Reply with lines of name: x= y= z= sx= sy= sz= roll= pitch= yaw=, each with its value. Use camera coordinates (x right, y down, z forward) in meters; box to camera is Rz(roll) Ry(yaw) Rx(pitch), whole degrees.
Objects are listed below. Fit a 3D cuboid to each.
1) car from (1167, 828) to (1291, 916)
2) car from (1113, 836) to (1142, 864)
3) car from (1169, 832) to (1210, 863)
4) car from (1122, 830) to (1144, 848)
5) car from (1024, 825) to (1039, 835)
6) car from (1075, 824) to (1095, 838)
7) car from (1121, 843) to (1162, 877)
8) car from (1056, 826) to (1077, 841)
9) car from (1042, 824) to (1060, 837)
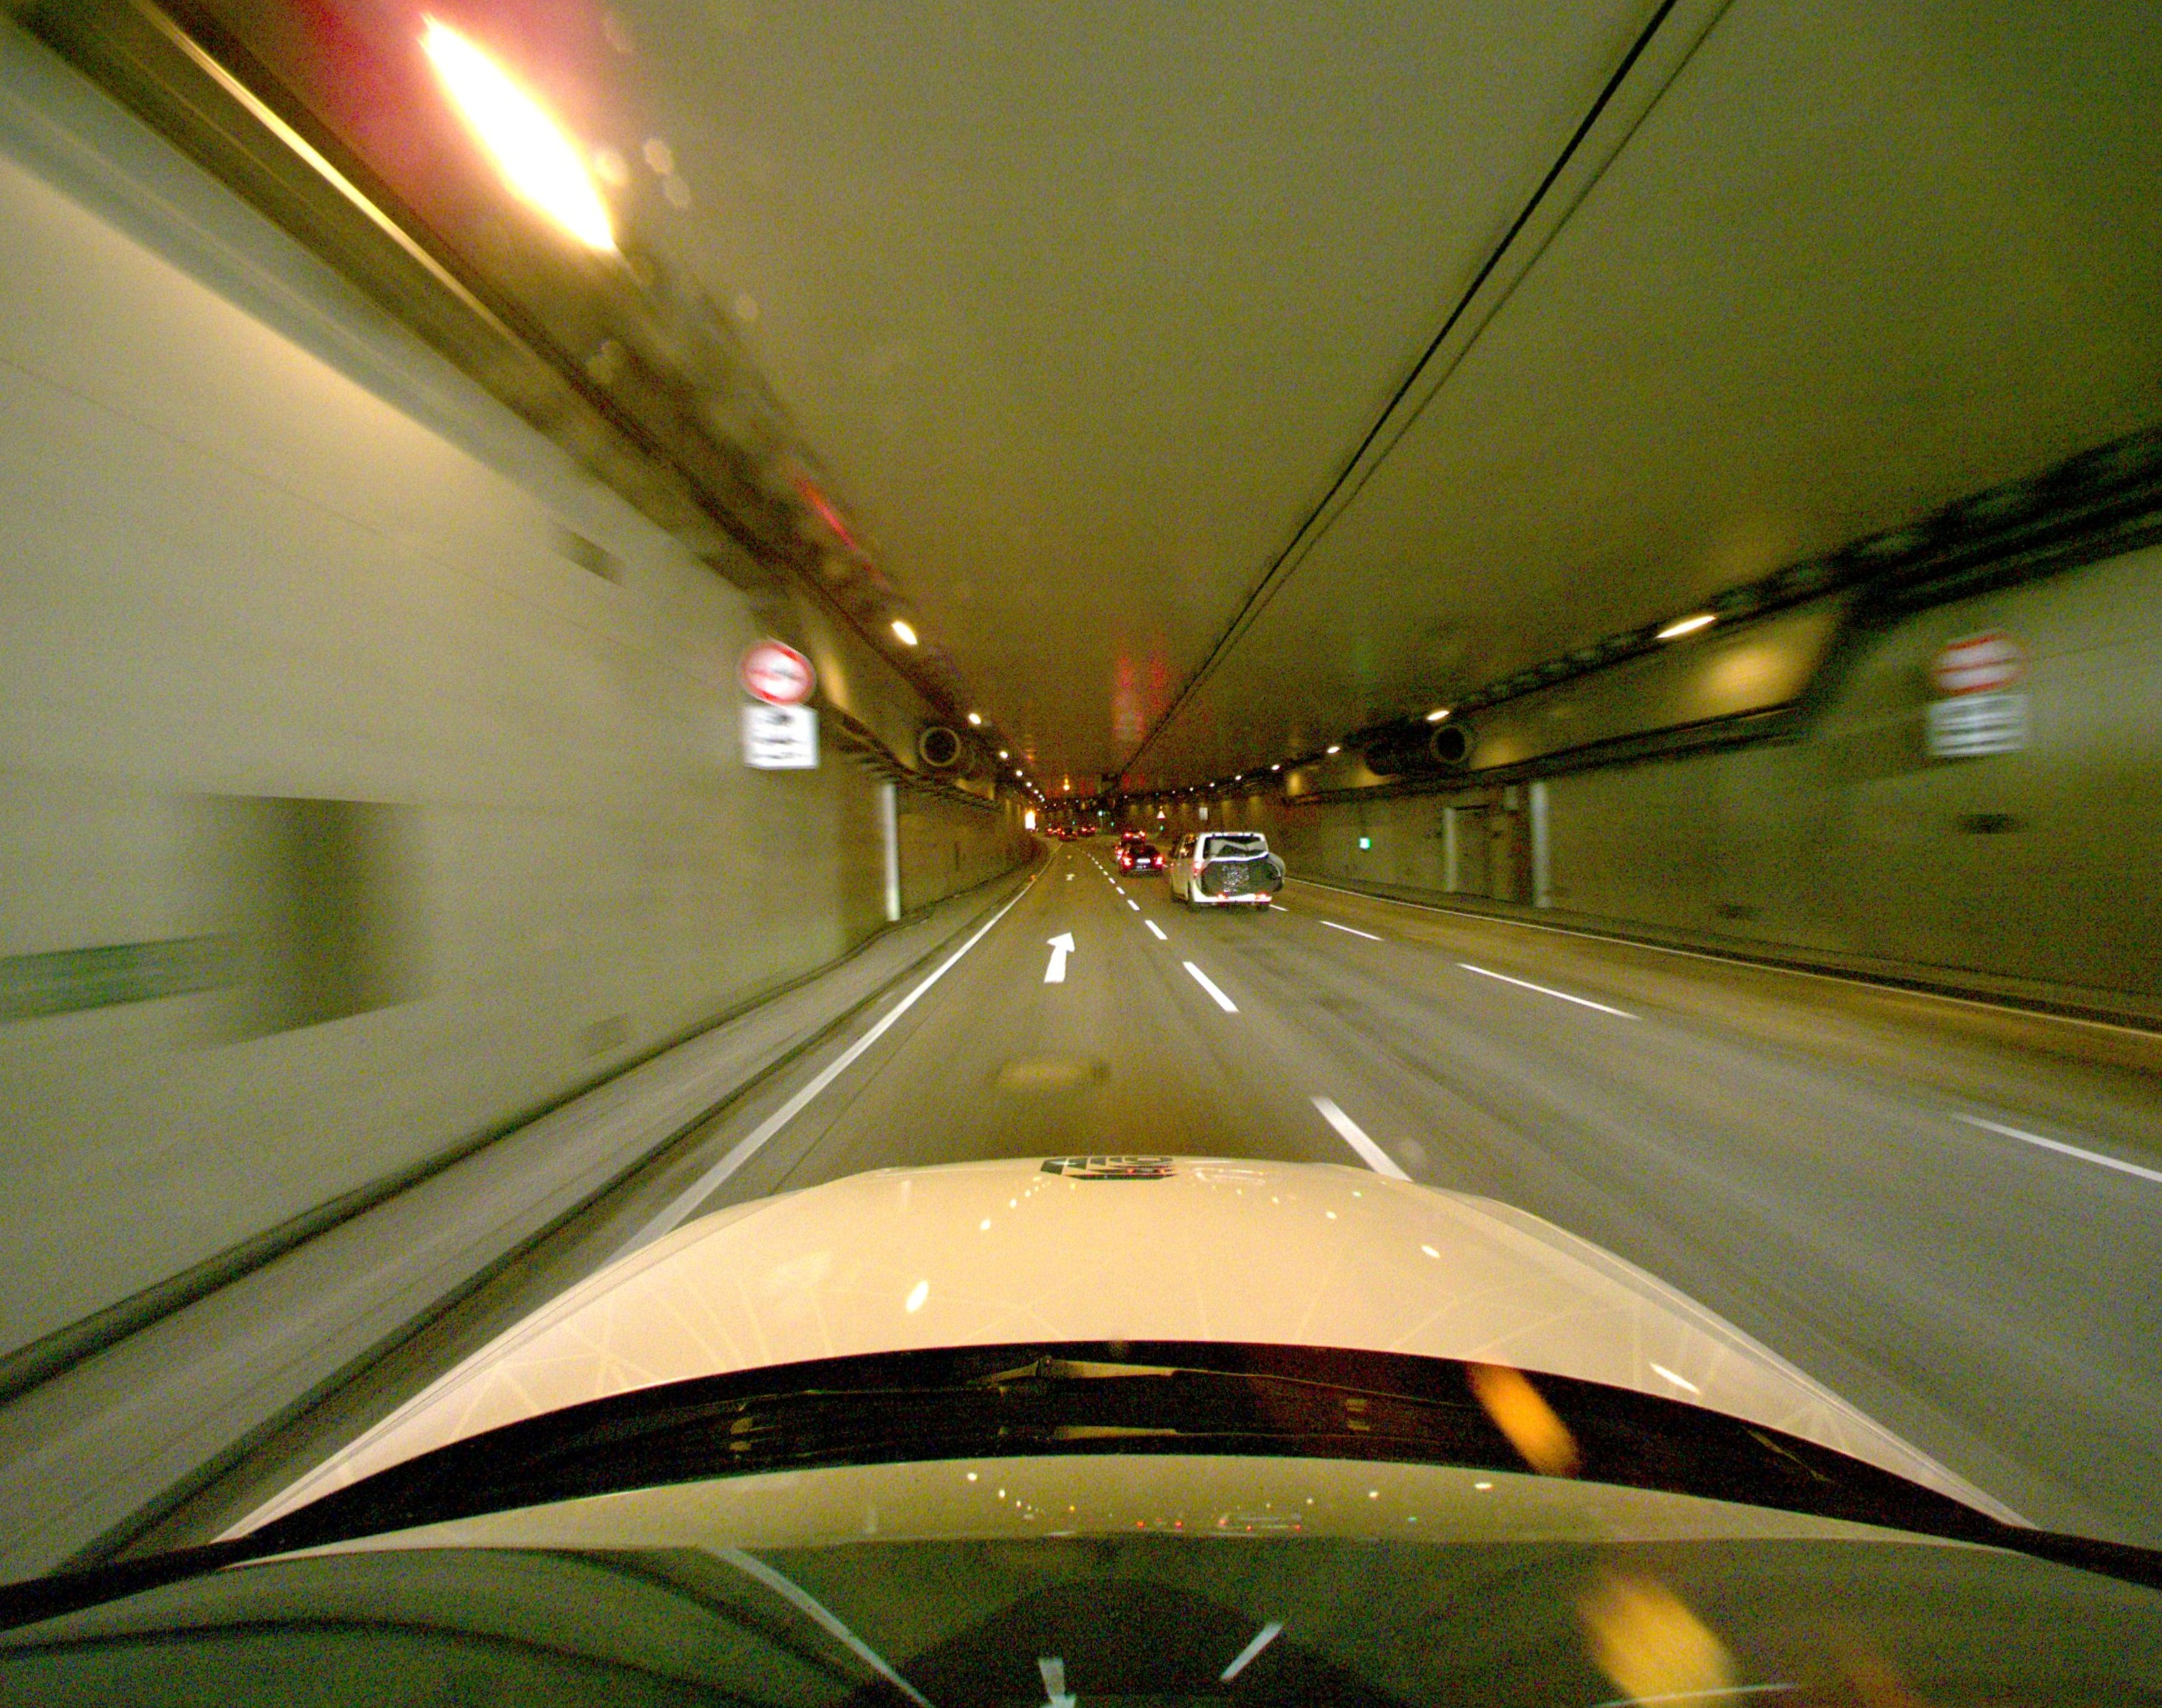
car: x=3.424 y=0.341 z=19.880 sx=1.988 sy=1.847 sz=5.299 roll=0 pitch=1 yaw=-1
car: x=2.744 y=-0.239 z=48.597 sx=1.597 sy=1.594 sz=3.356 roll=-1 pitch=1 yaw=0
car: x=6.396 y=-0.393 z=48.410 sx=1.867 sy=1.761 sz=3.998 roll=-1 pitch=0 yaw=-1
car: x=4.828 y=-1.406 z=75.450 sx=1.599 sy=1.630 sz=3.351 roll=-1 pitch=1 yaw=-4
car: x=-8.090 y=-3.896 z=132.601 sx=1.825 sy=1.630 sz=3.824 roll=-1 pitch=1 yaw=-15
car: x=0.539 y=-2.915 z=102.984 sx=1.823 sy=1.630 sz=3.830 roll=-1 pitch=1 yaw=-11
car: x=2.634 y=0.219 z=36.071 sx=1.597 sy=1.395 sz=3.277 roll=-1 pitch=1 yaw=0
car: x=-1.697 y=-2.274 z=92.773 sx=1.822 sy=1.630 sz=3.832 roll=-1 pitch=1 yaw=-9
car: x=-4.064 y=-3.136 z=109.357 sx=1.823 sy=1.630 sz=3.830 roll=-1 pitch=1 yaw=-11
